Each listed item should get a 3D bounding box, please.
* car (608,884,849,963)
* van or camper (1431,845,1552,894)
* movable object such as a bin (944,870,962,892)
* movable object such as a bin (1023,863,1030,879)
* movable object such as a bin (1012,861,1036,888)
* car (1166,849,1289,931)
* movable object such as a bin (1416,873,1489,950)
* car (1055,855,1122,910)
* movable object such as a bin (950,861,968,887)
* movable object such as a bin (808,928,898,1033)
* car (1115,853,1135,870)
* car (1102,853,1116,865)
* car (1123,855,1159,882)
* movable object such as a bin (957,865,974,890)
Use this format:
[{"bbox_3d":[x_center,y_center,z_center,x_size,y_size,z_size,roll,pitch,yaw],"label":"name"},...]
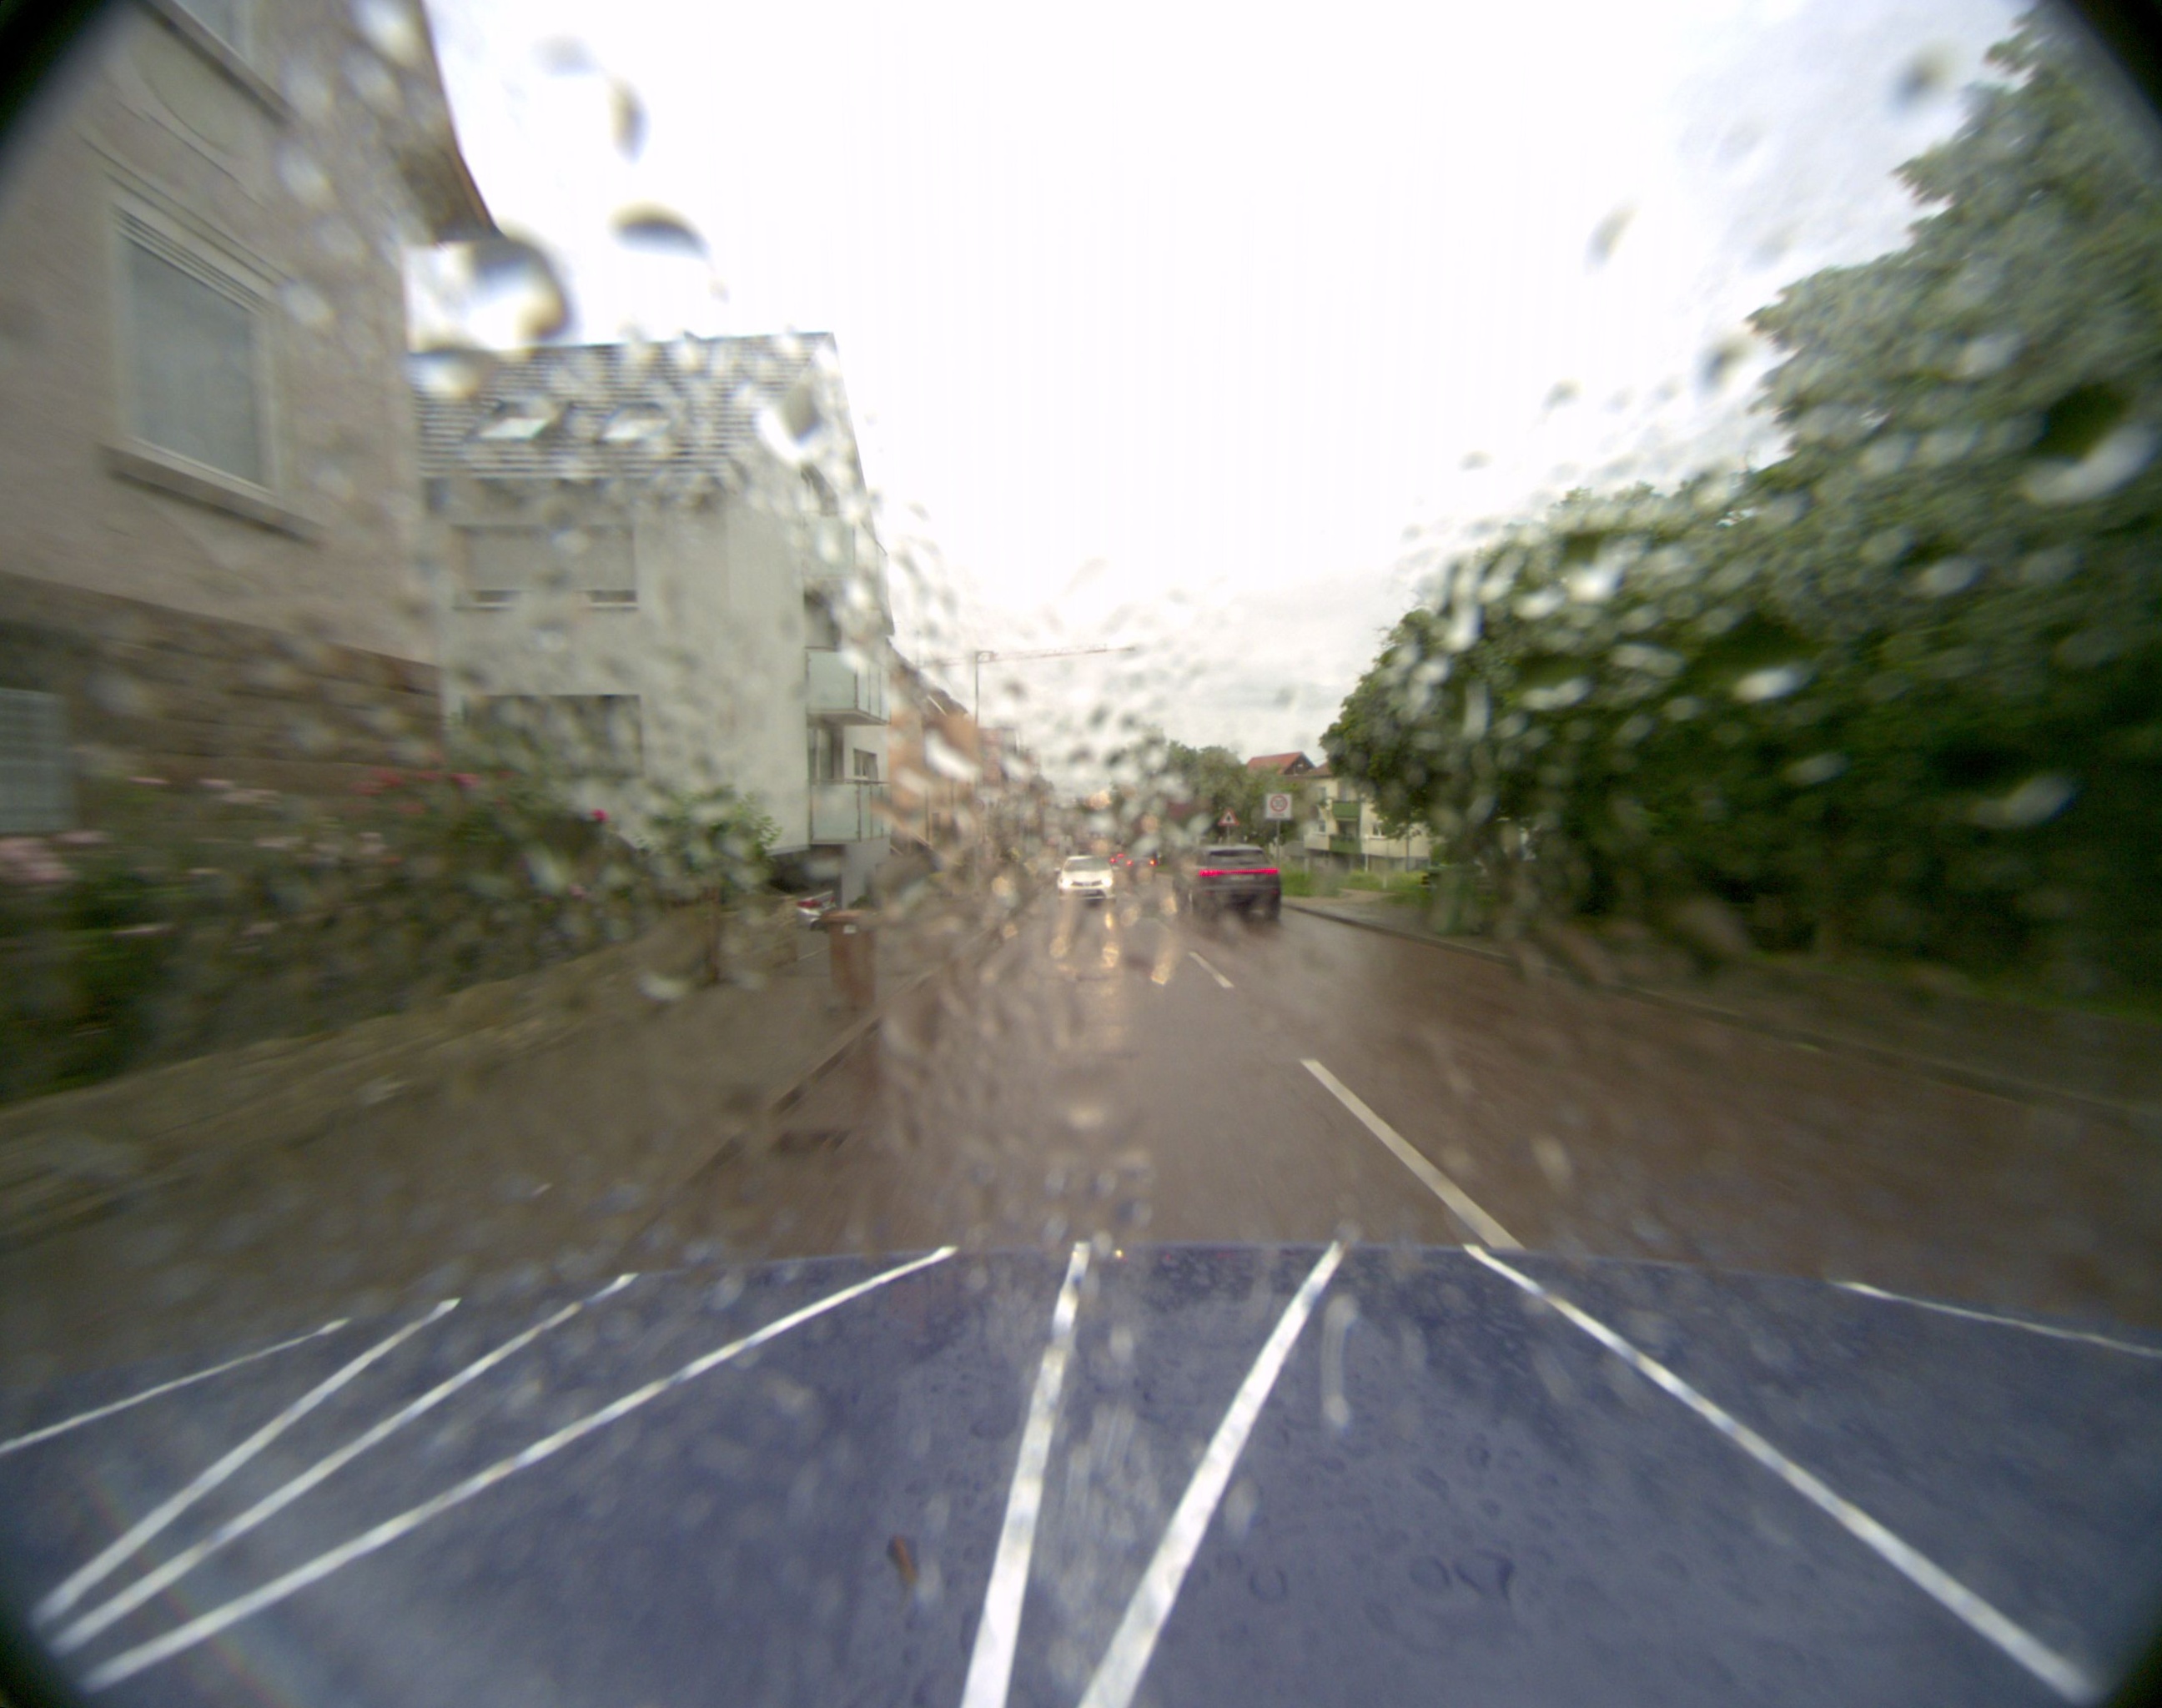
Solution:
[{"bbox_3d":[-7.736,1.510,16.980,4.480,1.436,1.754,-1,4,0],"label":"car"},{"bbox_3d":[23.229,0.864,43.301,1.643,2.542,6.051,-4,1,-31],"label":"van or camper"},{"bbox_3d":[-5.382,1.137,31.936,0.671,0.890,0.536,-1,0,0],"label":"movable object such as a bin"},{"bbox_3d":[-3.514,1.087,49.164,0.380,1.012,0.487,-1,1,0],"label":"movable object such as a bin"},{"bbox_3d":[-2.385,0.865,31.748,0.916,1.097,0.702,-1,1,2],"label":"movable object such as a bin"},{"bbox_3d":[3.217,0.730,17.613,1.923,1.614,4.362,-1,0,-1],"label":"car"},{"bbox_3d":[5.678,0.862,11.650,0.722,1.093,0.757,-3,1,0],"label":"movable object such as a bin"},{"bbox_3d":[0.217,0.819,23.729,1.859,1.427,4.016,-2,1,0],"label":"car"},{"bbox_3d":[-5.255,0.846,32.679,0.662,1.086,0.545,3,1,-2],"label":"movable object such as a bin"},{"bbox_3d":[-2.208,1.208,7.425,0.632,0.892,0.712,-1,1,0],"label":"movable object such as a bin"},{"bbox_3d":[4.006,0.658,69.383,1.723,1.421,3.845,0,0,3],"label":"car"},{"bbox_3d":[3.366,0.582,92.863,1.564,1.446,4.084,-1,0,0],"label":"car"},{"bbox_3d":[3.369,0.785,43.225,1.622,1.432,3.737,-1,0,-1],"label":"car"},{"bbox_3d":[-5.374,1.090,35.291,0.662,1.087,0.655,2,1,-2],"label":"movable object such as a bin"}]
